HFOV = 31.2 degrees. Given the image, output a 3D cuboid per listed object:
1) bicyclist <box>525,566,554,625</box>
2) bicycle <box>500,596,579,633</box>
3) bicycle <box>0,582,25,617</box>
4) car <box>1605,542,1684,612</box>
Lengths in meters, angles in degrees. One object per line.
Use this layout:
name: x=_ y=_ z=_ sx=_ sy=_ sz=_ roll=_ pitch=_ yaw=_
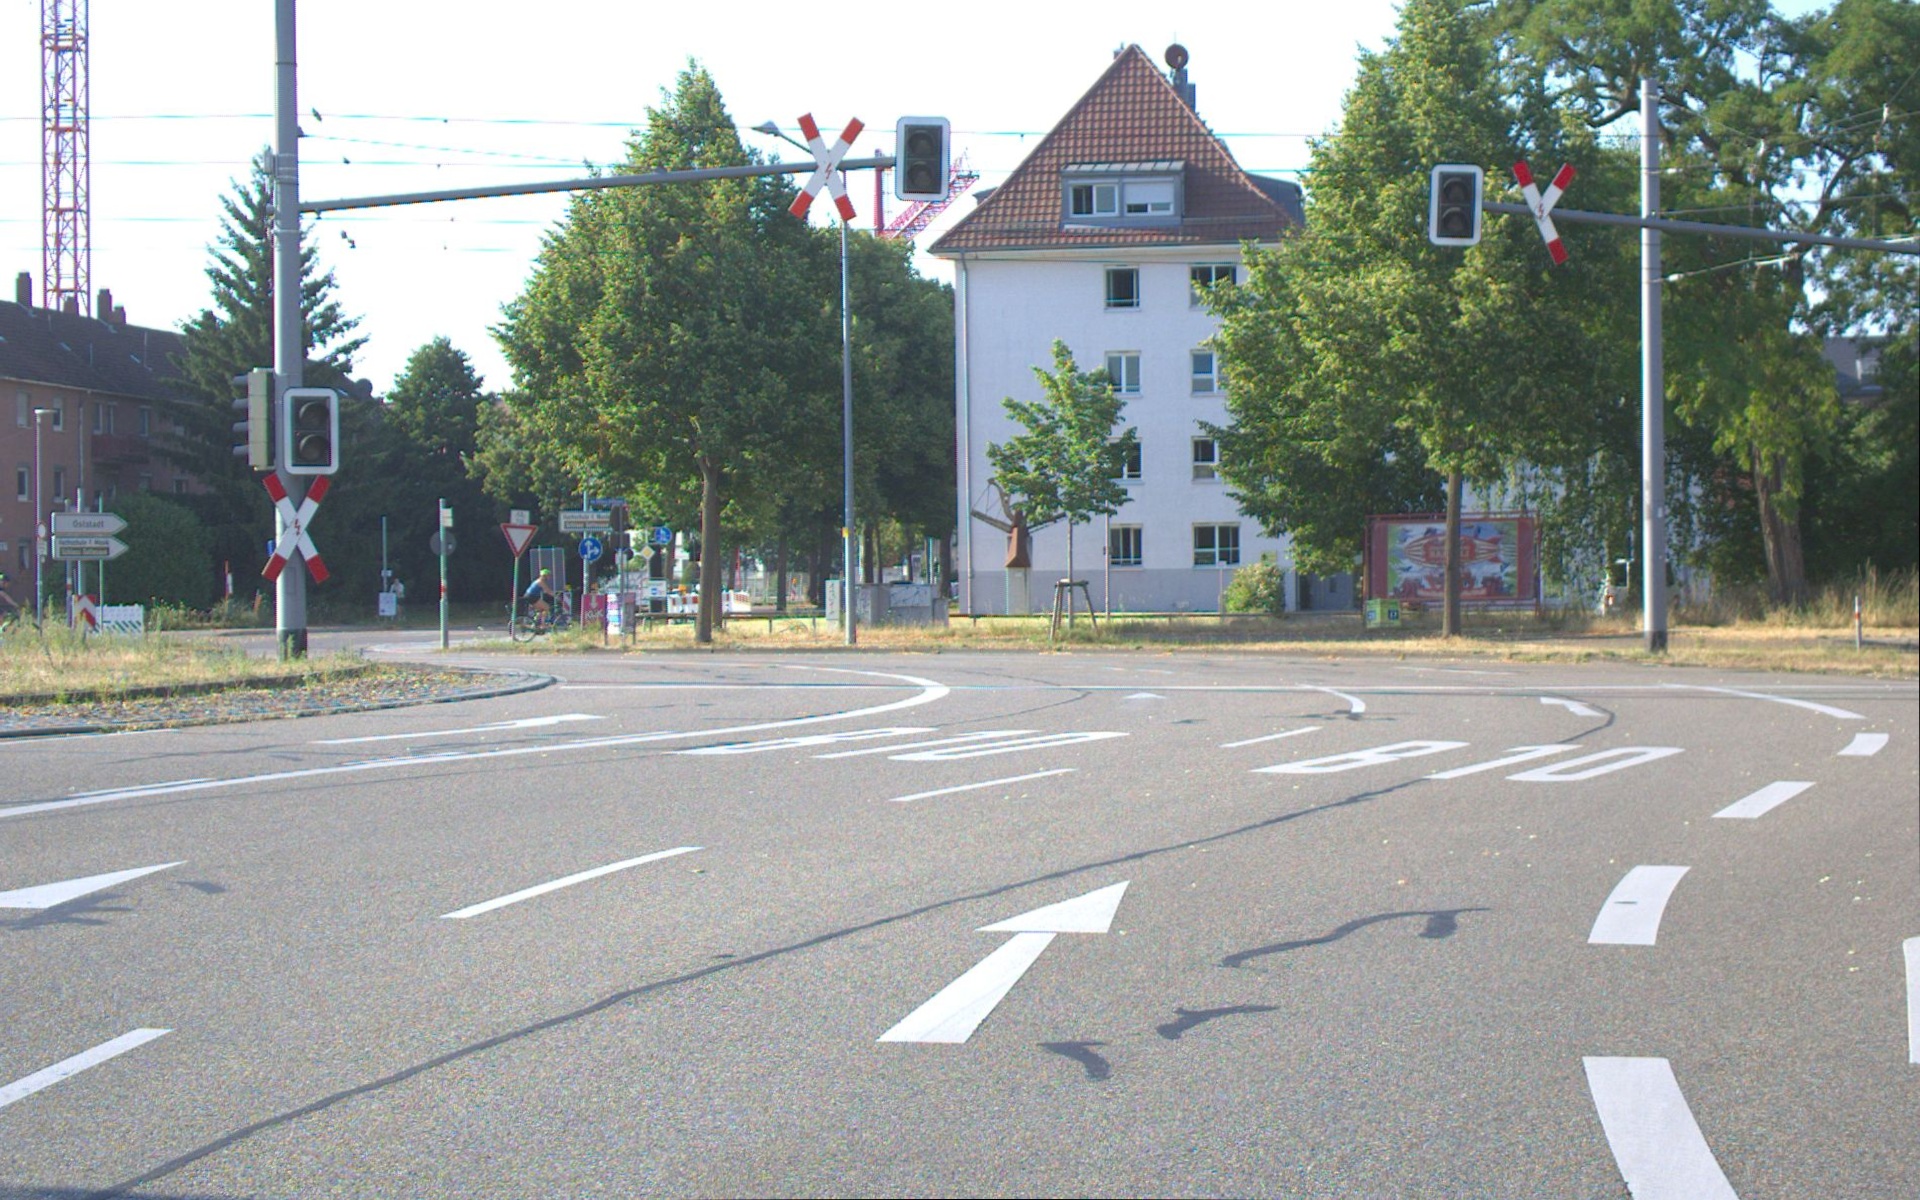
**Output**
bicyclist: x=-10.831 y=-0.107 z=88.569 sx=0.622 sy=1.506 sz=0.419 roll=-1 pitch=1 yaw=-21
bicycle: x=-10.834 y=0.380 z=88.577 sx=1.987 sy=0.915 sz=0.430 roll=-1 pitch=1 yaw=-22
bicycle: x=-23.793 y=-0.004 z=83.626 sx=1.987 sy=0.822 sz=0.430 roll=-1 pitch=1 yaw=-22
car: x=16.226 y=-0.535 z=81.395 sx=1.772 sy=1.612 sz=3.966 roll=-1 pitch=0 yaw=12
